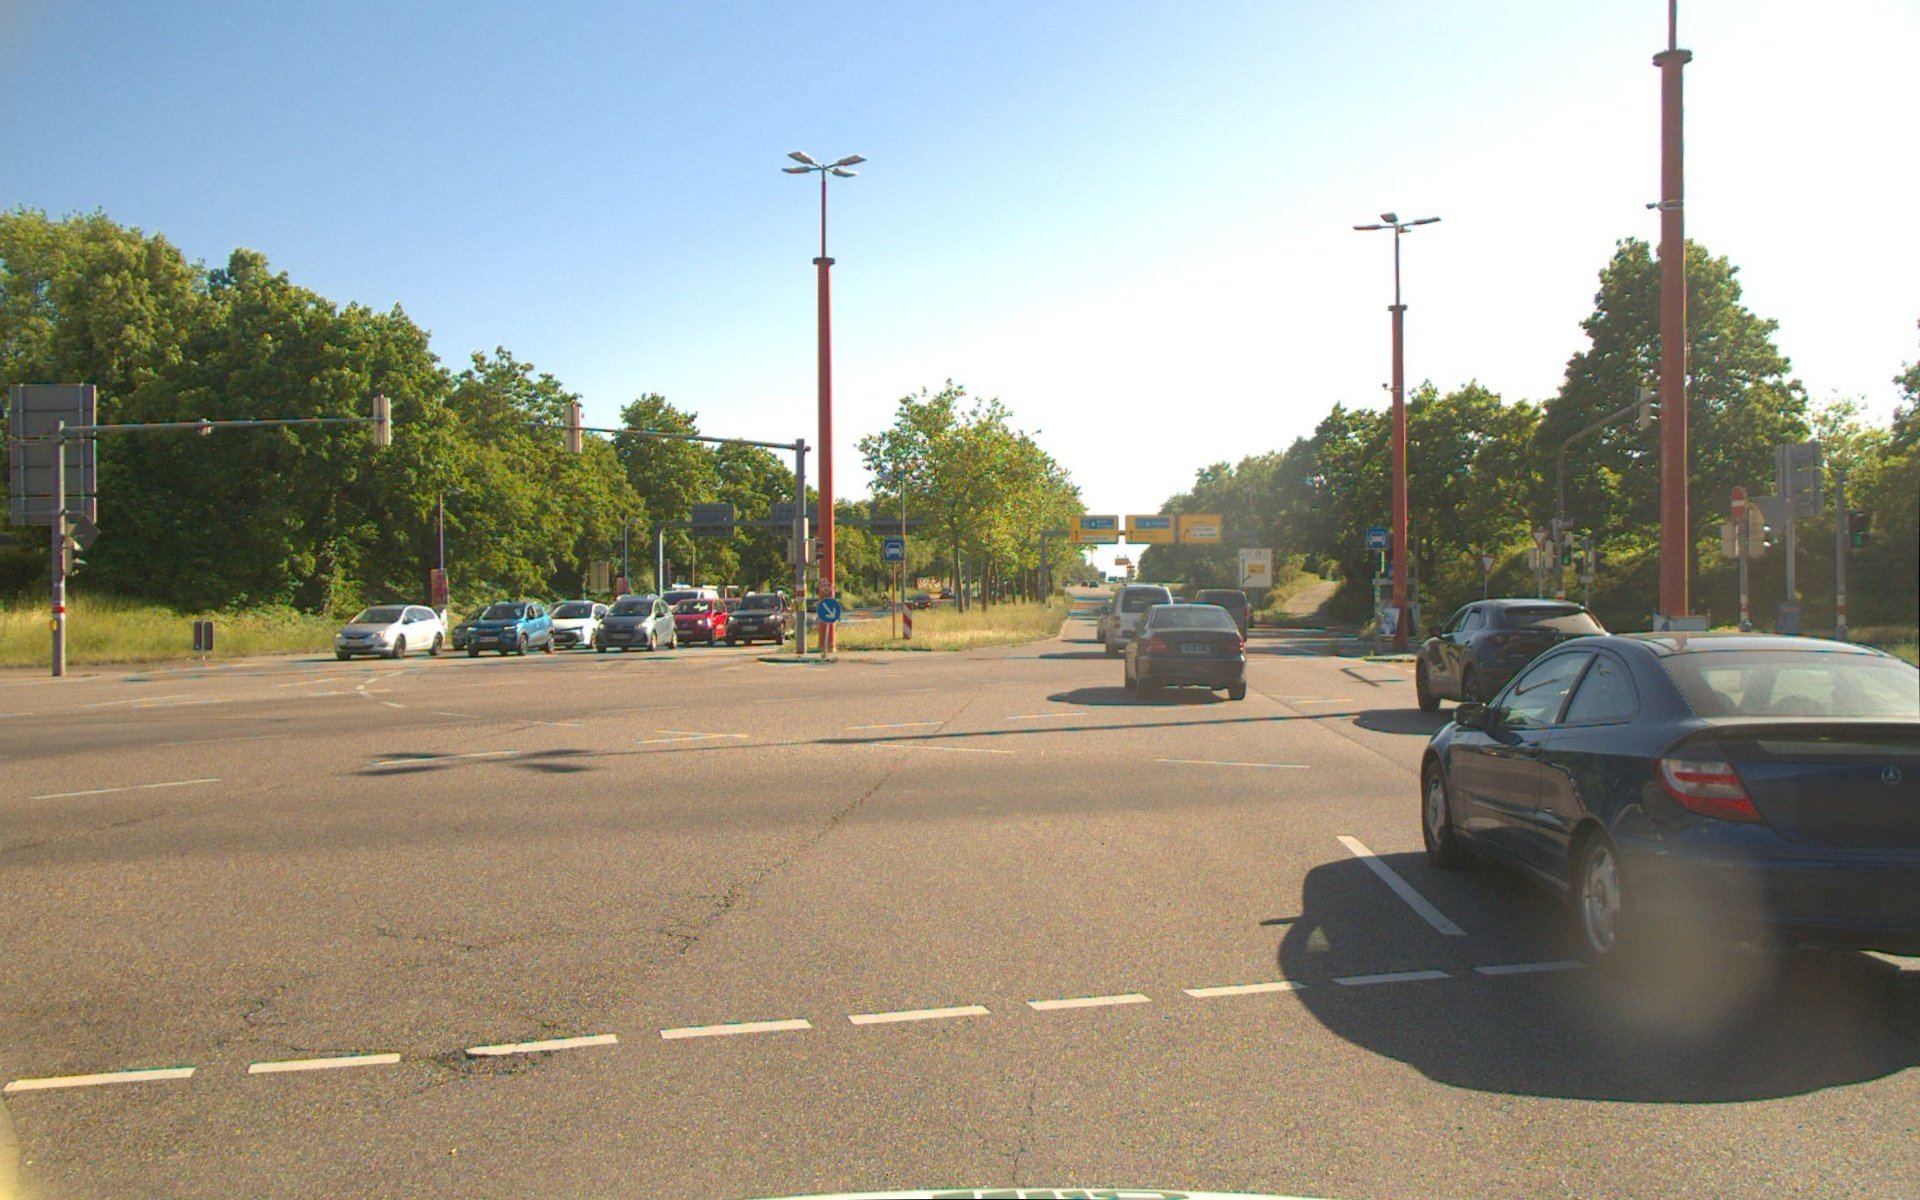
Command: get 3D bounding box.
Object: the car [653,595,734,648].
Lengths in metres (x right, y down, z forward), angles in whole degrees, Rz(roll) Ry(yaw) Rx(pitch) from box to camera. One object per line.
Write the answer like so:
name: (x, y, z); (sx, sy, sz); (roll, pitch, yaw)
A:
car: (-8.721, 0.674, 54.481); (1.836, 1.579, 4.001); (-3, 0, 2)

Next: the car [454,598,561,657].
car: (-12.845, 0.751, 47.179); (1.763, 1.542, 3.860); (-2, 0, 3)

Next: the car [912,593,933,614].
car: (-3.482, 0.287, 151.805); (1.877, 1.878, 3.959); (0, 0, -2)

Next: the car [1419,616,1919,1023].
car: (3.557, 0.825, 8.091); (1.682, 1.444, 4.051); (0, 0, 3)

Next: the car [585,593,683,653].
car: (-9.443, 0.629, 48.169); (1.835, 1.577, 4.029); (-2, 0, 3)

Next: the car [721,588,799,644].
car: (-6.260, 0.476, 52.092); (1.756, 1.654, 4.144); (-2, 0, 2)

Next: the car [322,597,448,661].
car: (-16.295, 0.800, 47.072); (1.837, 1.681, 4.221); (-1, -1, 4)

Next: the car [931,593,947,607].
car: (-2.880, 0.001, 229.281); (1.875, 1.878, 3.962); (0, 0, 3)

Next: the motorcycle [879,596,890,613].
motorcycle: (-7.300, 0.470, 160.475); (0.743, 1.637, 2.869); (1, 0, 4)

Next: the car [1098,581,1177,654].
car: (4.720, 0.457, 44.434); (1.767, 1.853, 4.588); (0, 0, 2)

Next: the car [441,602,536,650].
car: (-16.047, 0.856, 56.492); (1.845, 1.539, 4.002); (-1, 0, 4)

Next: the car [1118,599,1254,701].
car: (3.539, 0.739, 26.503); (1.677, 1.479, 4.198); (0, 0, 1)

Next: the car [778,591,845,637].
car: (-5.302, 0.482, 59.536); (1.846, 1.570, 4.001); (-1, 0, 3)

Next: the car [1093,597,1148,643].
car: (5.580, 0.692, 58.023); (1.766, 1.519, 4.684); (1, 0, 4)

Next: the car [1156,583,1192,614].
car: (11.717, -0.050, 90.626); (1.680, 1.636, 3.848); (1, 0, 3)

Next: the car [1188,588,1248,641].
car: (9.650, 0.519, 62.123); (1.766, 1.884, 5.105); (-1, 0, 4)

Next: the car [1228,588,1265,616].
car: (15.958, 0.133, 92.212); (1.561, 1.517, 3.683); (1, 0, 3)

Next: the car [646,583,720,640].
car: (-11.122, 0.442, 66.829); (1.920, 2.193, 5.083); (-1, 0, 2)

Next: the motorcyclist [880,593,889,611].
motorcyclist: (-7.283, 0.201, 160.497); (0.756, 1.768, 0.916); (1, -1, 3)

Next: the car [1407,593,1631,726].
car: (7.184, 0.716, 21.679); (1.731, 1.534, 4.227); (1, 0, 4)

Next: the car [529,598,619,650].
car: (-12.386, 0.745, 53.317); (1.862, 1.582, 4.001); (-1, 0, 1)
